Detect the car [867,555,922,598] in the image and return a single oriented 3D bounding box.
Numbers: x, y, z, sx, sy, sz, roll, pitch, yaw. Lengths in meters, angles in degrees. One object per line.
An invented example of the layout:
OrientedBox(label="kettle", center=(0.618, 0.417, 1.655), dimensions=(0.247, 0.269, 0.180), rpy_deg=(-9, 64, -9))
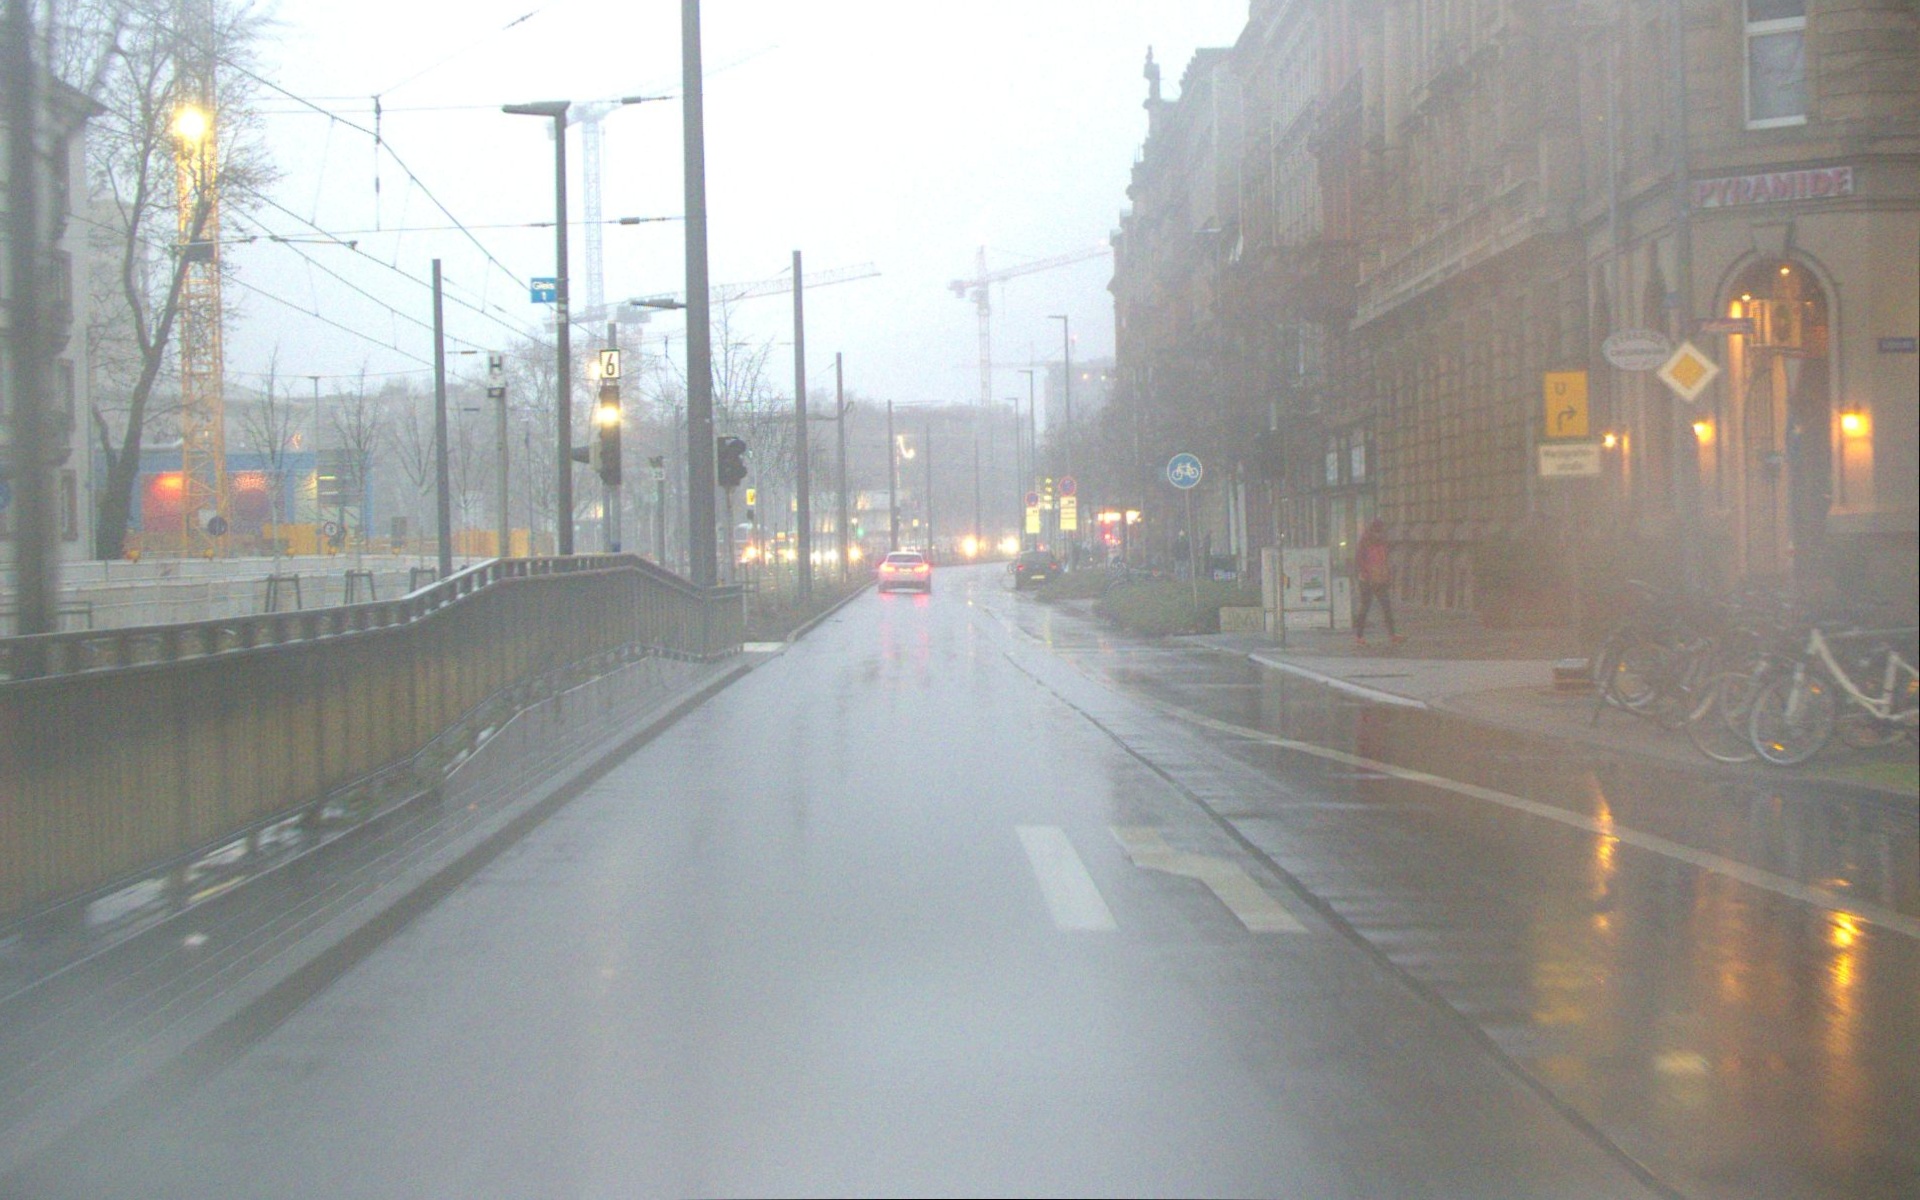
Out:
OrientedBox(label="car", center=(-2.321, -0.857, 122.505), dimensions=(1.784, 1.462, 3.148), rpy_deg=(-1, 1, 1))

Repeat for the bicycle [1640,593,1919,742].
OrientedBox(label="bicycle", center=(6.159, 0.500, 25.725), dimensions=(2.008, 0.967, 0.425), rpy_deg=(-4, 1, -2))

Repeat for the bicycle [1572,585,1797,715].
OrientedBox(label="bicycle", center=(6.497, 0.434, 30.787), dimensions=(2.087, 1.048, 0.478), rpy_deg=(-3, 1, -27))

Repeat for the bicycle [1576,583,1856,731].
OrientedBox(label="bicycle", center=(6.186, 0.463, 28.158), dimensions=(2.144, 1.051, 0.425), rpy_deg=(-4, 2, -2))

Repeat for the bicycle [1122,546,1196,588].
OrientedBox(label="bicycle", center=(5.143, -0.856, 88.898), dimensions=(1.851, 1.054, 0.471), rpy_deg=(-2, 1, -3))

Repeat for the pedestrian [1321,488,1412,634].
OrientedBox(label="pedestrian", center=(5.643, -0.545, 47.709), dimensions=(0.853, 2.007, 0.918), rpy_deg=(-1, 1, -30))

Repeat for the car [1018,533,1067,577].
OrientedBox(label="car", center=(3.155, -1.727, 131.269), dimensions=(1.799, 1.598, 3.770), rpy_deg=(-1, 1, 2))

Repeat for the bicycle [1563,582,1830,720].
OrientedBox(label="bicycle", center=(6.141, 0.416, 28.685), dimensions=(2.087, 1.048, 0.478), rpy_deg=(-2, 1, -2))

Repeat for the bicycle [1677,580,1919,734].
OrientedBox(label="bicycle", center=(6.676, 0.425, 26.544), dimensions=(2.144, 1.051, 0.425), rpy_deg=(-3, 2, -2))

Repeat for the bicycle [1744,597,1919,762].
OrientedBox(label="bicycle", center=(6.232, 0.525, 23.258), dimensions=(1.729, 1.051, 0.371), rpy_deg=(-2, 1, -2))

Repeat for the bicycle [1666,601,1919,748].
OrientedBox(label="bicycle", center=(6.703, 0.579, 27.103), dimensions=(2.144, 1.051, 0.484), rpy_deg=(-2, 1, -2))

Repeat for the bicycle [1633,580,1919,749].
OrientedBox(label="bicycle", center=(6.012, 0.466, 25.201), dimensions=(2.008, 1.091, 0.425), rpy_deg=(-4, 1, -2))

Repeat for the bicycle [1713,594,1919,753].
OrientedBox(label="bicycle", center=(6.276, 0.514, 24.443), dimensions=(1.729, 1.051, 0.371), rpy_deg=(-2, 1, -2))

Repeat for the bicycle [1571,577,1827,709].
OrientedBox(label="bicycle", center=(6.432, 0.372, 29.957), dimensions=(2.087, 1.048, 0.478), rpy_deg=(-2, 1, -2))

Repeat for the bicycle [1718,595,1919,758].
OrientedBox(label="bicycle", center=(6.164, 0.520, 23.759), dimensions=(1.729, 1.051, 0.371), rpy_deg=(-2, 1, -2))
